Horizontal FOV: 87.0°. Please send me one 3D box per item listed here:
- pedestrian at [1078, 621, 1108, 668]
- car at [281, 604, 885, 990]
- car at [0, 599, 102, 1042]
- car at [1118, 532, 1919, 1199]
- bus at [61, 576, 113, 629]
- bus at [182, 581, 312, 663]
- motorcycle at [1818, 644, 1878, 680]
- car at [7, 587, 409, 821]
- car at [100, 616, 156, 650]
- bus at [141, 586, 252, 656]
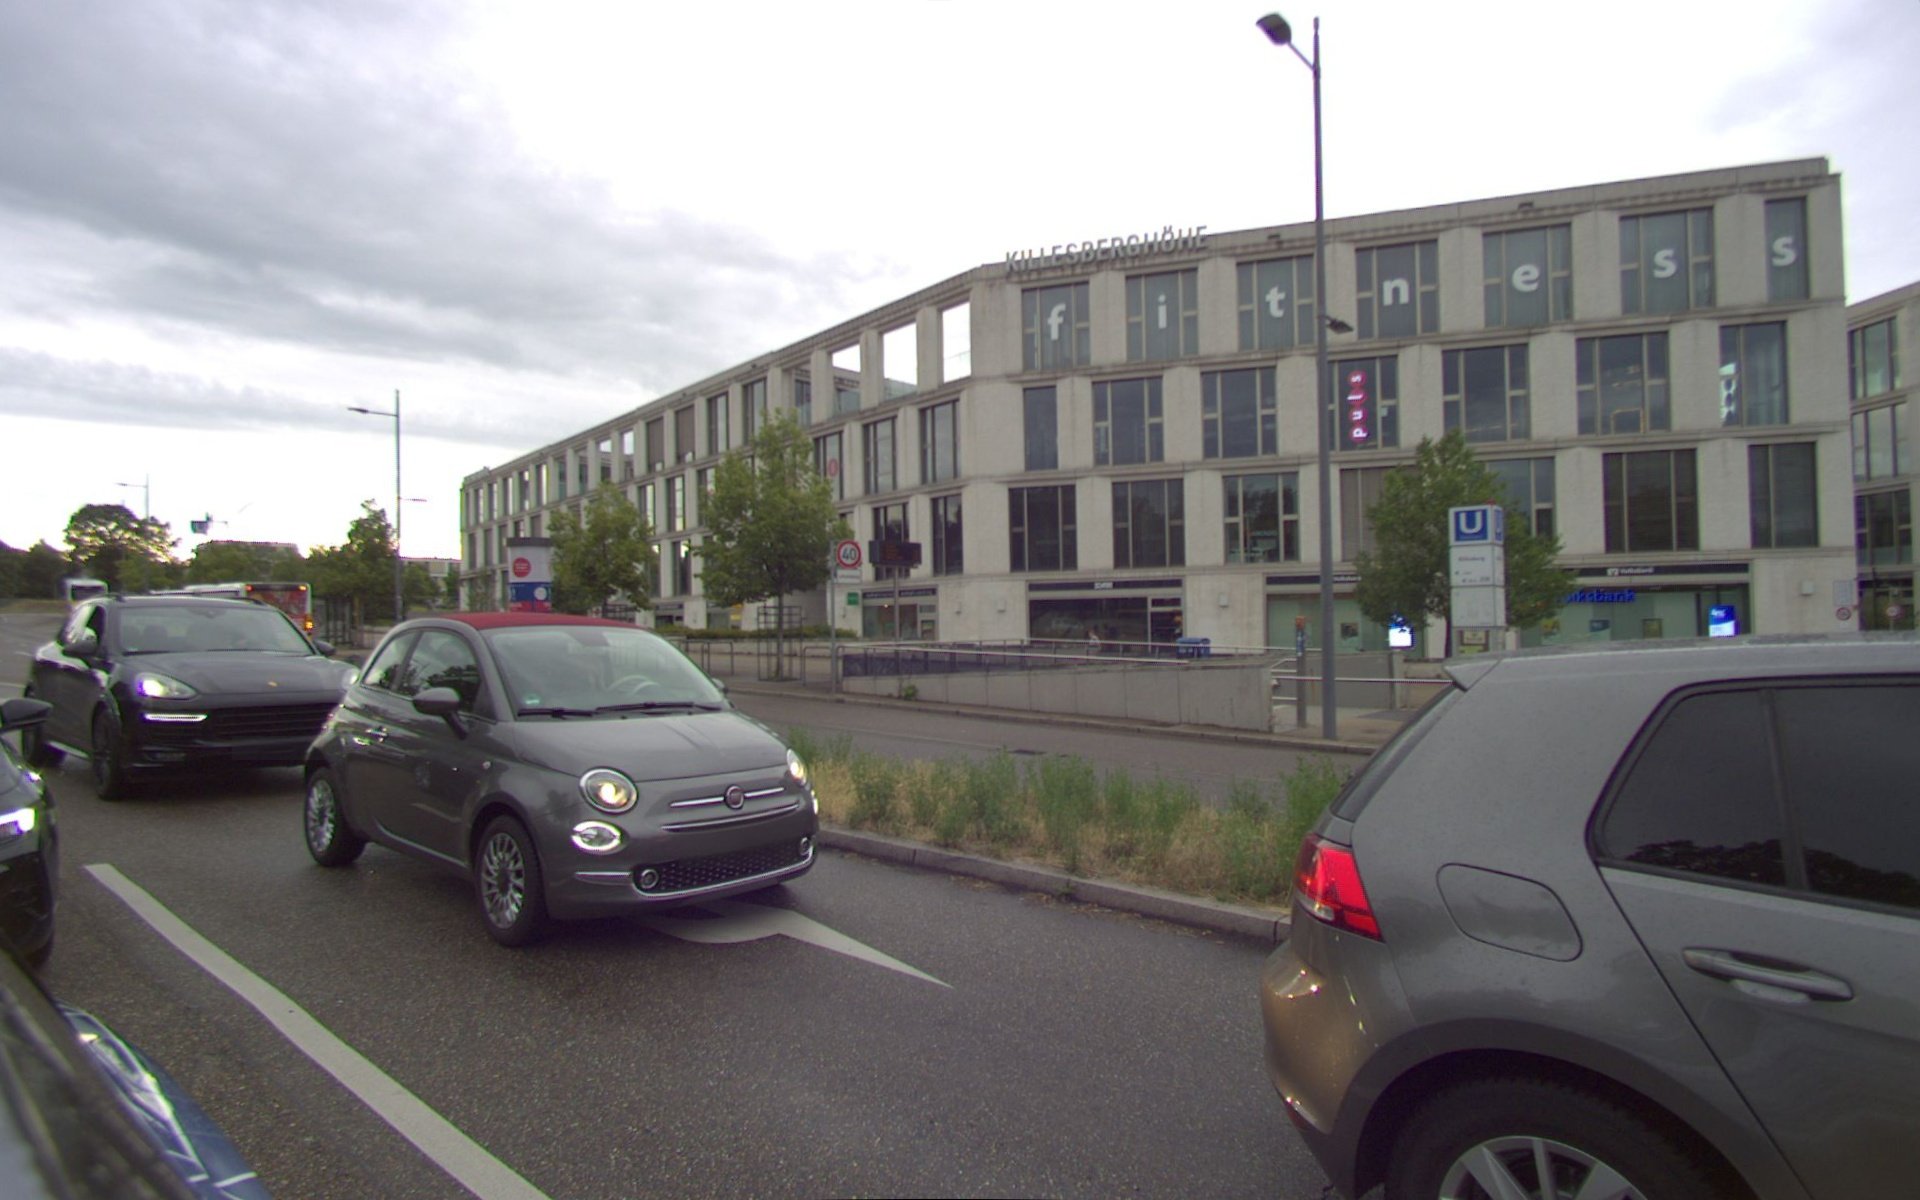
[{"bbox_3d":[4.663,1.544,35.543,0.907,1.617,0.760,0,-1,18],"label":"pedestrian"},{"bbox_3d":[-2.244,0.796,5.662,3.502,1.492,1.611,-1,-1,39],"label":"car"},{"bbox_3d":[-5.433,0.764,4.432,4.766,1.476,1.877,-1,0,41],"label":"car"},{"bbox_3d":[2.577,0.651,1.474,4.374,1.492,1.797,-1,-2,41],"label":"car"},{"bbox_3d":[-76.393,0.250,88.830,2.717,4.185,19.383,-1,0,-39],"label":"bus"},{"bbox_3d":[-31.127,0.911,43.985,9.206,3.236,2.723,-1,0,43],"label":"bus"},{"bbox_3d":[20.412,1.417,23.276,0.517,0.746,1.098,-1,0,9],"label":"motorcycle"},{"bbox_3d":[-7.142,0.784,9.432,4.612,1.671,1.910,-1,-1,39],"label":"car"},{"bbox_3d":[-47.282,1.825,57.502,3.998,1.800,1.843,-1,0,41],"label":"car"},{"bbox_3d":[-38.153,0.979,50.393,9.911,3.205,2.658,-1,0,42],"label":"bus"}]
